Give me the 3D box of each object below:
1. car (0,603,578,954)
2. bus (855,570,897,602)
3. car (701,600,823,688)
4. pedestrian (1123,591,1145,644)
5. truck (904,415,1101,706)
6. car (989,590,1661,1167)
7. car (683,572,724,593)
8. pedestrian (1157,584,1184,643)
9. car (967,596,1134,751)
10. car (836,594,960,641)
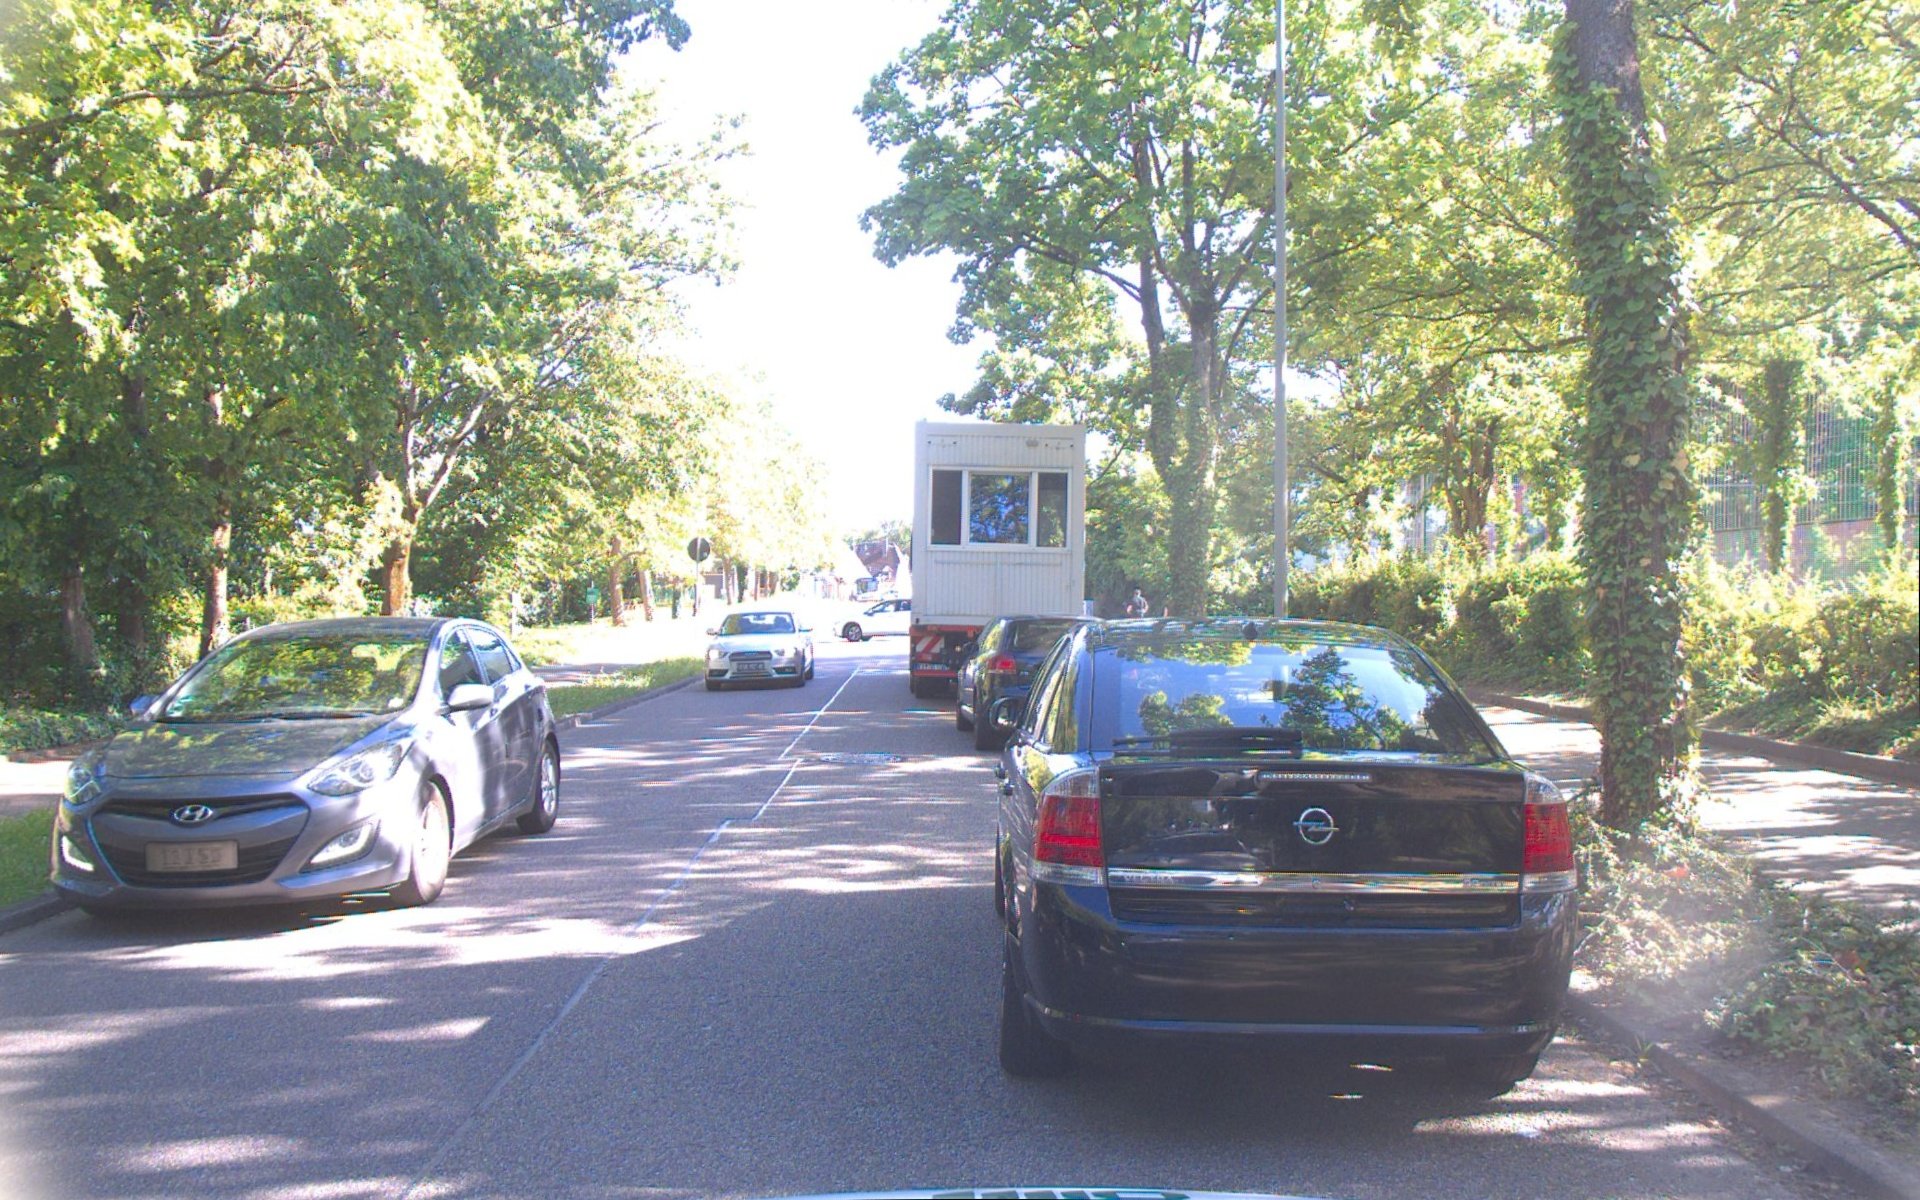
[{"bbox_3d":[-3.542,0.812,9.623,1.720,1.479,4.241,-2,1,-2],"label":"car"},{"bbox_3d":[-9.274,-1.571,183.205,3.981,3.407,9.801,-1,1,1],"label":"bus"},{"bbox_3d":[-3.644,0.779,31.065,1.750,1.441,4.104,-2,1,0],"label":"car"},{"bbox_3d":[5.539,0.548,52.679,0.586,1.639,0.599,-2,0,-5],"label":"pedestrian"},{"bbox_3d":[0.432,-0.591,28.555,2.717,4.065,10.344,1,0,-2],"label":"truck"},{"bbox_3d":[0.999,0.742,6.367,1.712,1.506,4.030,0,0,0],"label":"car"},{"bbox_3d":[-26.514,-1.812,171.067,3.905,2.049,2.000,-2,0,0],"label":"car"},{"bbox_3d":[6.700,0.419,52.774,0.684,1.844,0.699,-2,0,-5],"label":"pedestrian"},{"bbox_3d":[0.917,0.723,18.322,1.606,1.445,4.000,-2,0,1],"label":"car"},{"bbox_3d":[-2.094,0.595,56.599,3.862,1.445,1.813,-2,0,13],"label":"car"}]
